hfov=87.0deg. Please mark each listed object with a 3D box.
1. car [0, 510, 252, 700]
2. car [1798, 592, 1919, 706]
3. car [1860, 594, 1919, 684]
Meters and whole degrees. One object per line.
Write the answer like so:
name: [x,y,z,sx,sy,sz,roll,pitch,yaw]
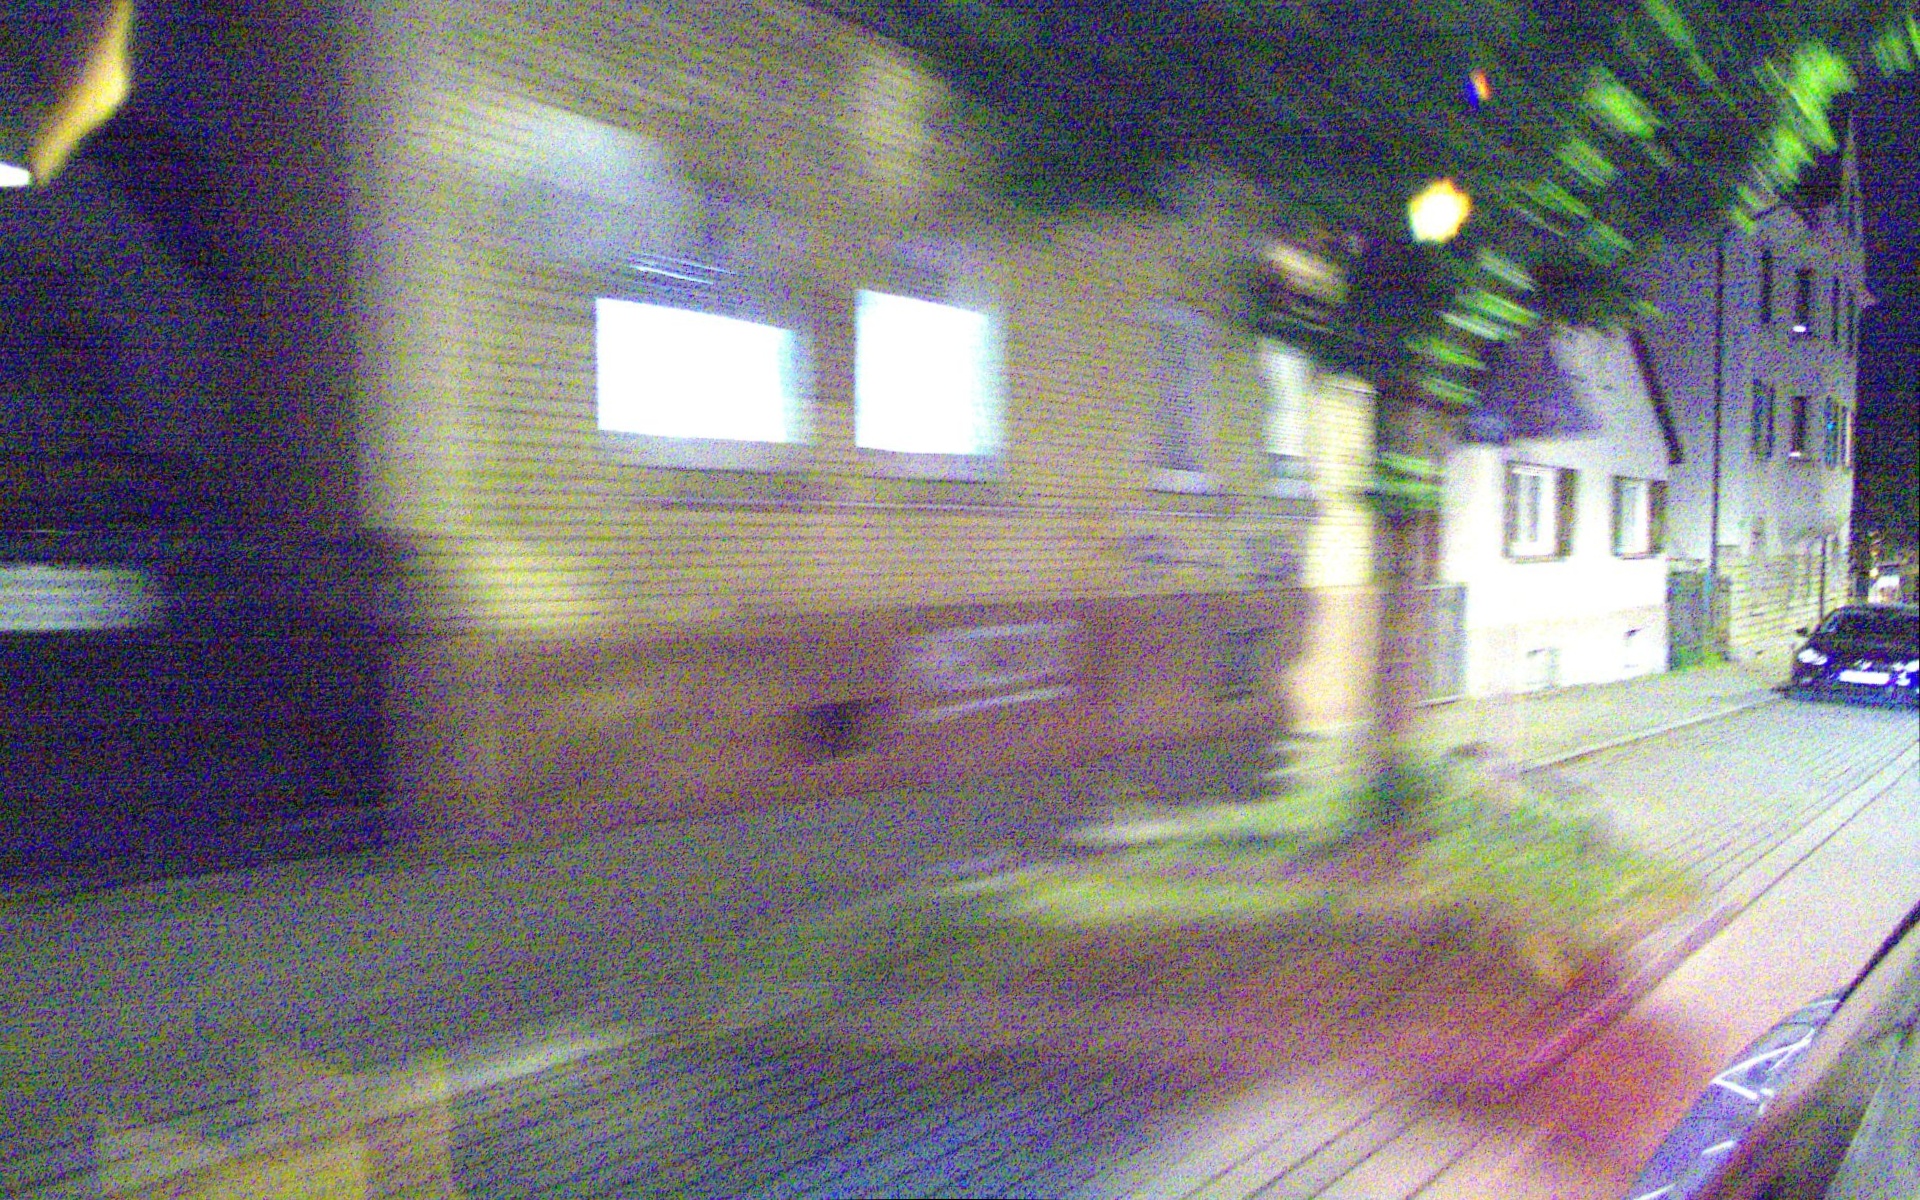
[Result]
car: [-7.653,-0.054,9.228,1.662,1.417,3.222,-1,3,-41]
car: [14.048,0.649,15.100,3.950,1.465,1.774,0,3,-42]
car: [18.122,0.700,18.538,4.565,1.434,1.849,-1,5,-42]
